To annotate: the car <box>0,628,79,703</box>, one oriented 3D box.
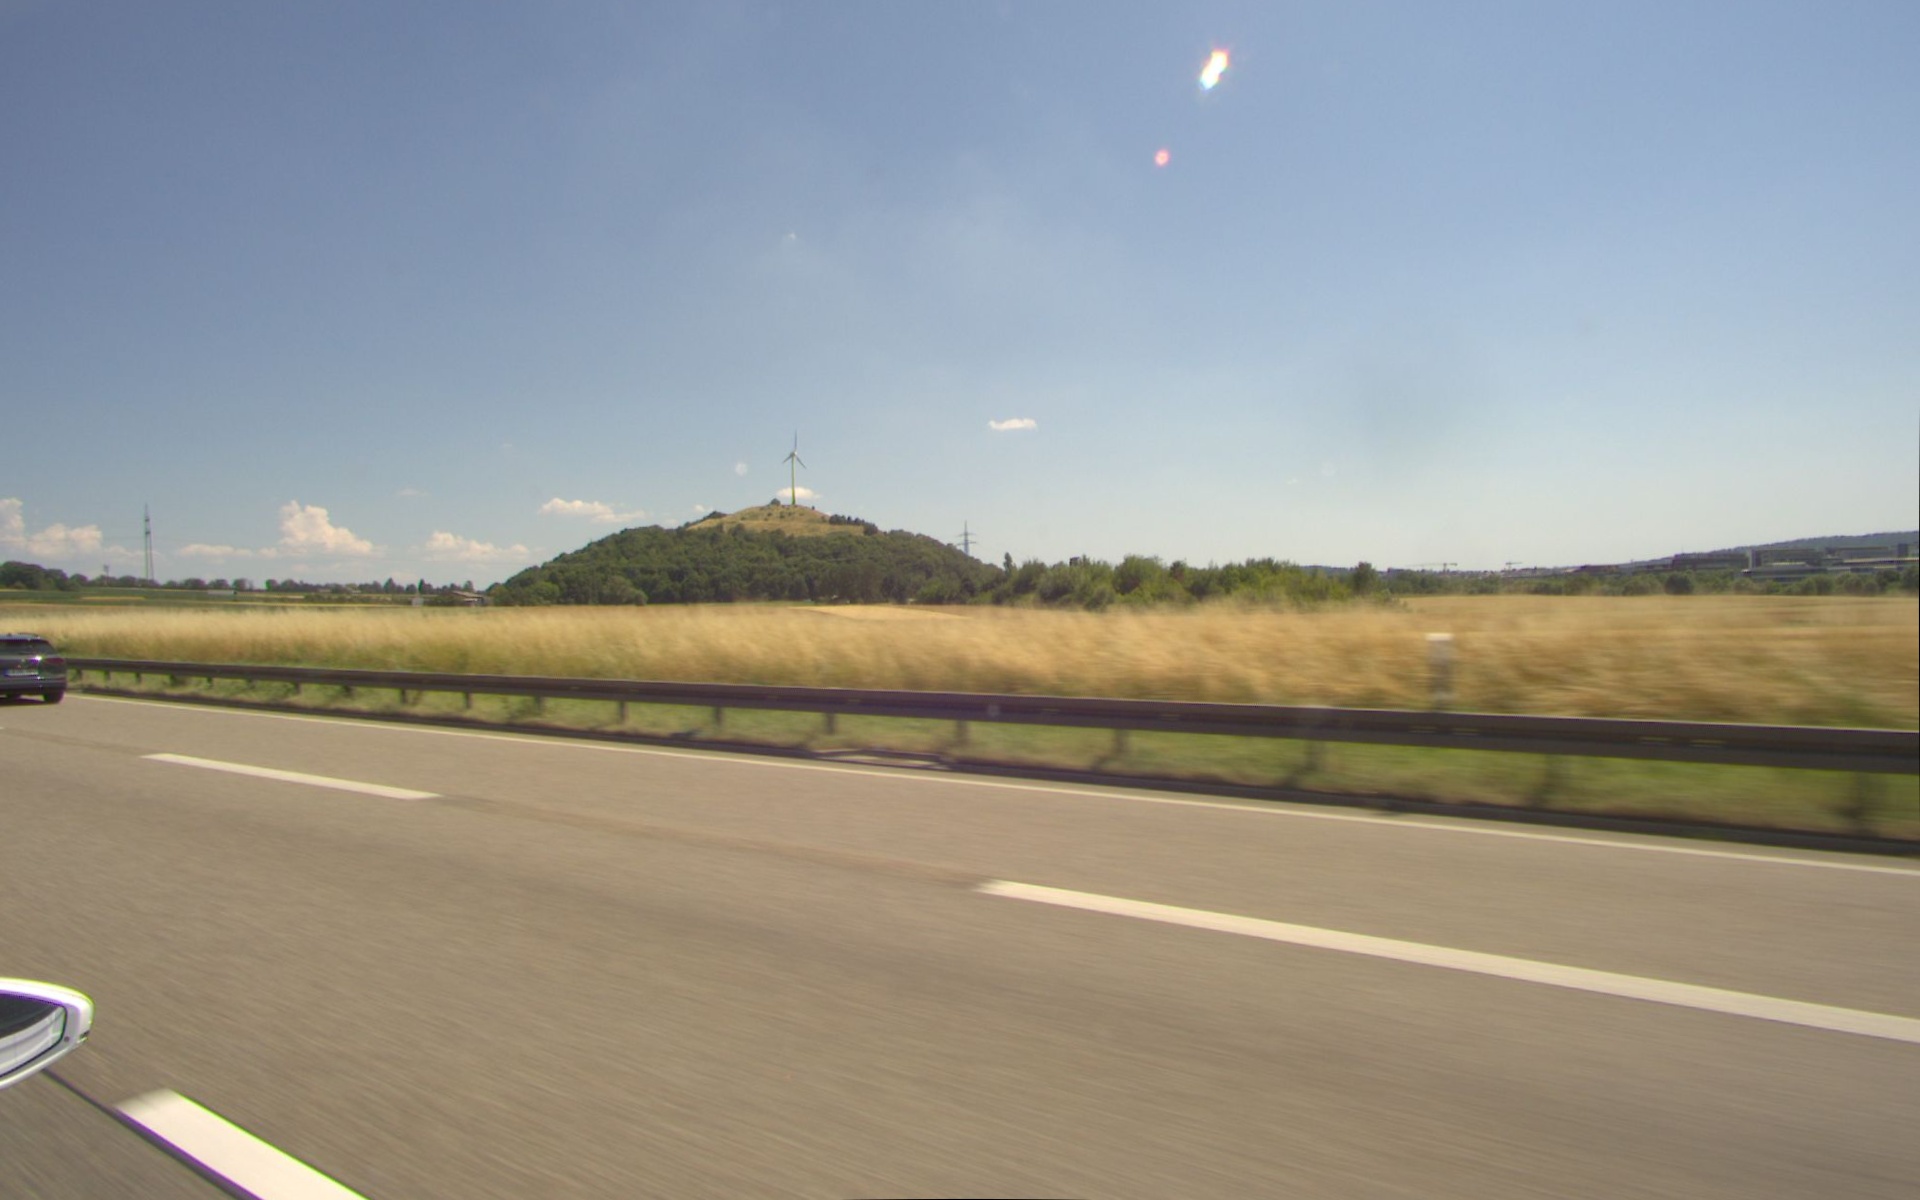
[{"bbox_3d":[-20.699,1.355,21.386,4.474,1.489,1.757,-2,-2,34],"label":"car"}]
